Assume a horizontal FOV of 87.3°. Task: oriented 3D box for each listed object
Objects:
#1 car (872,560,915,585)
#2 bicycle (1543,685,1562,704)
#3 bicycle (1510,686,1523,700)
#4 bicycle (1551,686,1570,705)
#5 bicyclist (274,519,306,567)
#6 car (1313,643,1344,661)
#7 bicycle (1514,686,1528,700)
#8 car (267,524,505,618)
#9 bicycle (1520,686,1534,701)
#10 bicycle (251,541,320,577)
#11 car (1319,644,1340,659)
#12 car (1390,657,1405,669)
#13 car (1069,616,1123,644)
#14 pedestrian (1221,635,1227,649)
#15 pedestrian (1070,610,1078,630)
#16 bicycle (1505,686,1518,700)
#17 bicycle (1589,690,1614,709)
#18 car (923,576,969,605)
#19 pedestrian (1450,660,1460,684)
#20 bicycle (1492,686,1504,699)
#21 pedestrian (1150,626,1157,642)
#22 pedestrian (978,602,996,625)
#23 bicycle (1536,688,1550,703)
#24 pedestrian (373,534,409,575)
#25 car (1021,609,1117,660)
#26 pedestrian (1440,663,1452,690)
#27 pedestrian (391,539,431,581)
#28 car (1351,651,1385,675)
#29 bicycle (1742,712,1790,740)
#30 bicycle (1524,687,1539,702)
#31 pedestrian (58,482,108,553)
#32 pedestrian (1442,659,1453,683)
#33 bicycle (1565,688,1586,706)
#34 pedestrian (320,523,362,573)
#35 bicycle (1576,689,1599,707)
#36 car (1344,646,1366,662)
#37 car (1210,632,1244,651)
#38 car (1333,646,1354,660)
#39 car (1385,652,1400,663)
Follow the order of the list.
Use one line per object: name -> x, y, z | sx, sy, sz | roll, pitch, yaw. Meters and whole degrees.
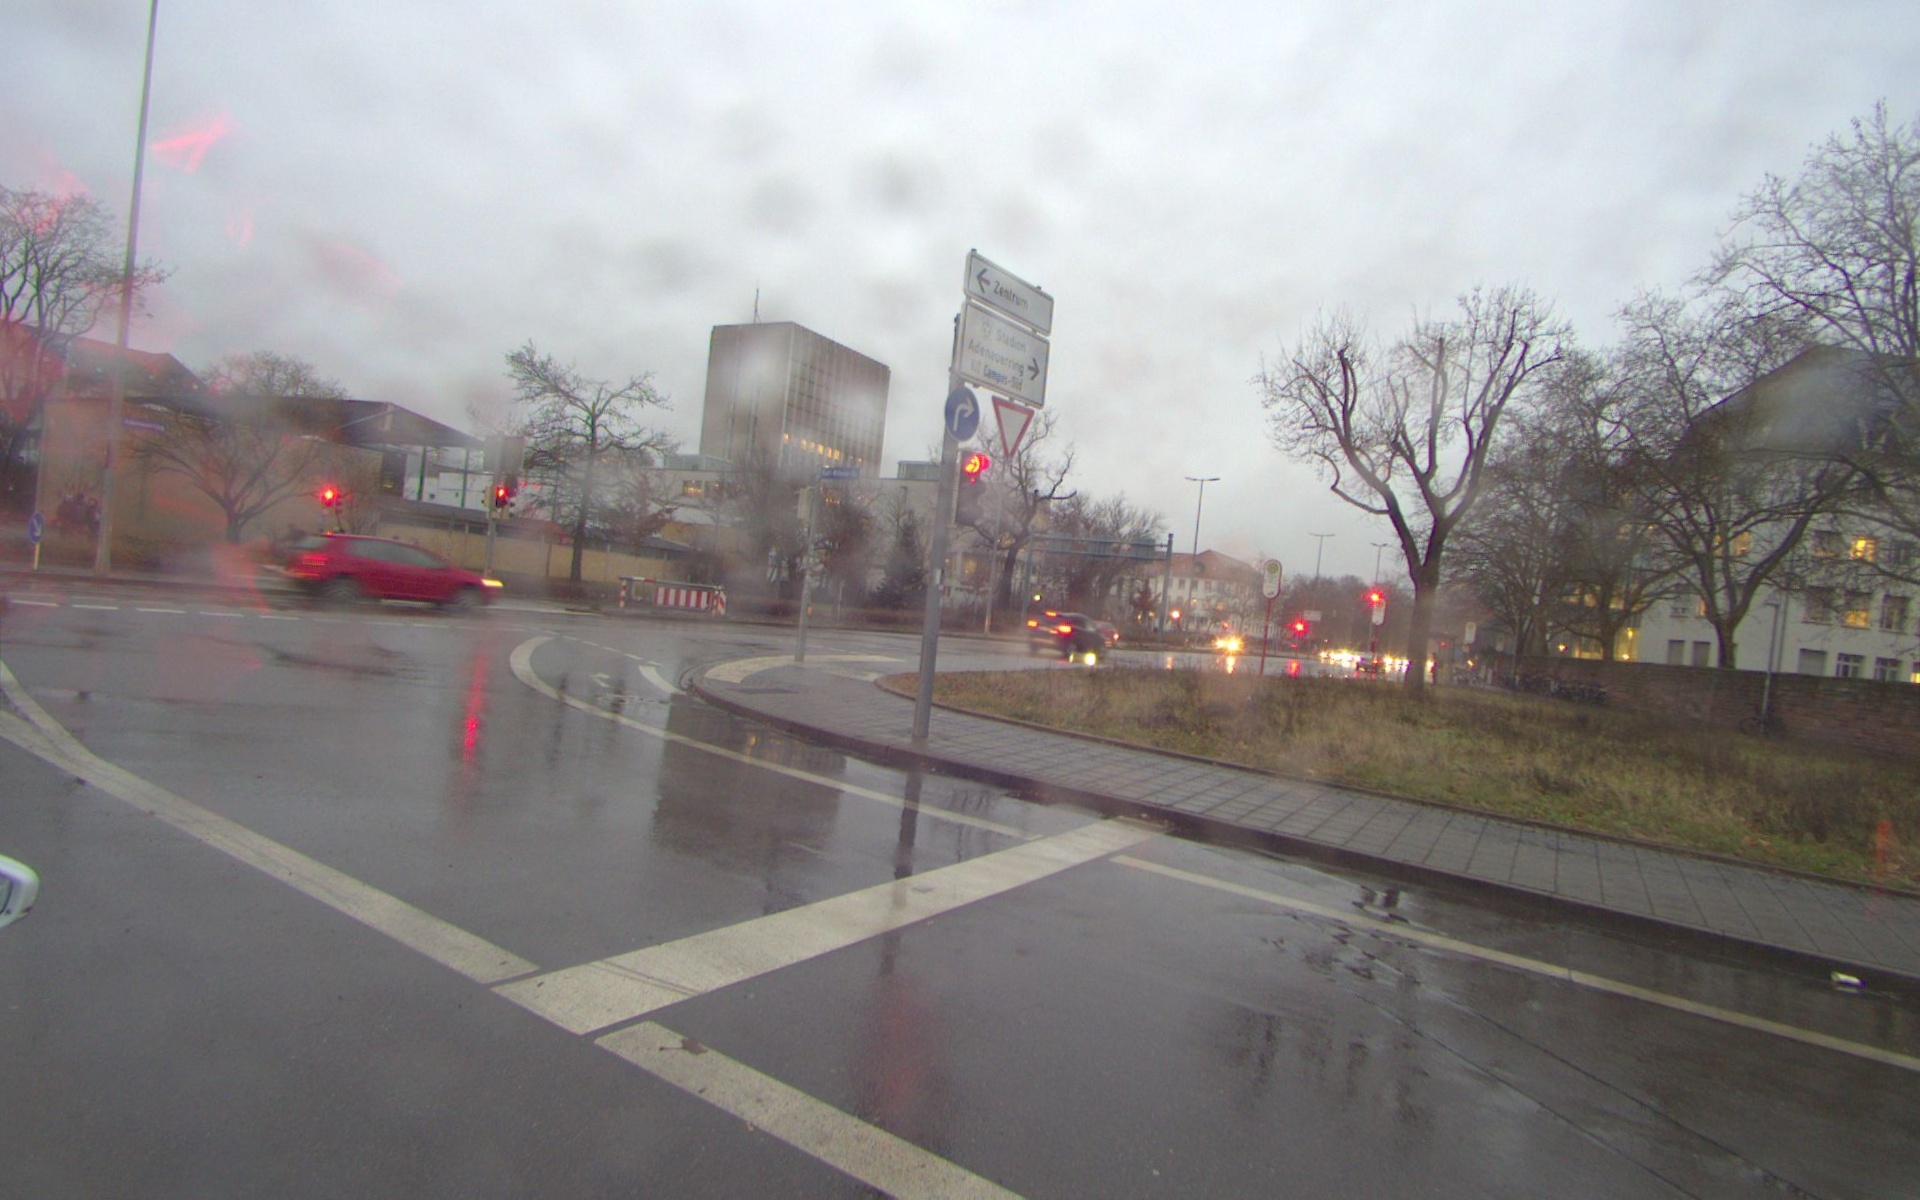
car -> -7.021, -2.897, 106.588 | 2.014, 2.102, 4.892 | 6, 0, 30
bicycle -> 31.843, 5.077, 54.076 | 0.387, 0.927, 1.532 | 7, -2, 15
bicycle -> 34.351, 5.744, 62.141 | 0.387, 0.795, 1.532 | 7, -2, 20
bicycle -> 31.358, 4.982, 52.545 | 0.387, 0.868, 1.532 | 7, -2, 15
bicyclist -> -24.130, -2.053, 36.242 | 0.649, 1.620, 0.684 | 8, 2, 37
car -> 45.776, 6.473, 124.972 | 1.973, 1.783, 3.977 | 8, 1, 43
bicycle -> 33.830, 5.616, 60.652 | 0.387, 0.795, 1.532 | 7, -2, 20
car -> -12.535, -0.601, 22.168 | 1.815, 1.602, 4.117 | 6, 0, 40
bicycle -> 33.324, 5.489, 59.134 | 0.387, 0.795, 1.532 | 7, -2, 20
bicycle -> -24.250, -1.469, 36.186 | 0.649, 1.061, 1.882 | 8, 1, 37
car -> 49.285, 6.866, 134.137 | 1.966, 1.783, 3.992 | 7, 1, 29
car -> 76.371, 10.969, 175.710 | 1.965, 1.783, 3.993 | 7, 1, 27
car -> 8.715, 1.919, 64.281 | 1.781, 1.496, 4.418 | 6, 0, 30
pedestrian -> 32.968, 5.257, 125.656 | 0.404, 1.713, 0.561 | 7, 2, 28
pedestrian -> 10.135, 1.738, 89.525 | 0.411, 1.725, 0.430 | 8, 3, 44
bicycle -> 34.852, 5.869, 63.615 | 0.387, 0.795, 1.532 | 7, -2, 20
bicycle -> 30.277, 4.675, 47.465 | 0.352, 0.795, 1.415 | 7, -2, 8
car -> -1.381, -0.985, 103.250 | 2.014, 2.452, 5.326 | 6, 0, 30
pedestrian -> 44.374, 6.442, 90.143 | 0.557, 2.040, 0.595 | 8, 2, 33
bicycle -> 36.392, 6.249, 68.096 | 0.387, 0.795, 1.532 | 7, -2, 20
pedestrian -> 21.369, 3.712, 111.063 | 0.412, 1.725, 0.429 | 5, 2, -28
pedestrian -> 2.072, 1.030, 76.605 | 0.783, 1.624, 0.960 | 8, 2, 39
bicycle -> 32.414, 5.293, 55.942 | 0.387, 0.795, 1.607 | 7, -2, 22
pedestrian -> -23.344, -1.867, 41.276 | 0.871, 1.553, 0.893 | 7, 2, 32
car -> 4.378, 1.403, 39.866 | 1.812, 1.710, 4.309 | 6, 0, 34
pedestrian -> 30.153, 4.736, 62.407 | 0.462, 1.623, 0.486 | 7, -1, 25
pedestrian -> -22.309, -1.635, 40.889 | 1.025, 1.553, 0.925 | 7, 2, 32
car -> 33.984, 5.260, 83.753 | 1.811, 1.710, 4.311 | 6, 0, 32
bicycle -> 28.204, 4.401, 35.214 | 0.387, 0.834, 1.386 | 7, -2, -4
bicycle -> 32.842, 5.407, 57.855 | 0.387, 0.795, 1.532 | 7, -2, 19
pedestrian -> -28.557, -2.677, 32.756 | 0.871, 2.141, 0.893 | 7, 2, 32
pedestrian -> 43.860, 6.387, 90.481 | 0.557, 2.040, 0.595 | 8, 2, 33
bicycle -> 31.040, 4.878, 50.733 | 0.343, 0.848, 1.493 | 7, -2, 13
pedestrian -> -24.350, -2.034, 39.582 | 0.904, 1.823, 0.997 | 7, 2, 32
bicycle -> 30.550, 4.771, 48.989 | 0.387, 0.795, 1.533 | 7, -2, 14
car -> 51.643, 7.074, 131.481 | 1.966, 1.783, 3.992 | 7, 1, 29
car -> 25.512, 3.971, 96.007 | 1.781, 1.496, 4.417 | 6, 0, 32
car -> 53.426, 7.397, 140.165 | 1.966, 1.783, 3.992 | 7, 1, 29
car -> 67.111, 8.971, 156.163 | 1.745, 1.495, 3.915 | 7, 1, 27
